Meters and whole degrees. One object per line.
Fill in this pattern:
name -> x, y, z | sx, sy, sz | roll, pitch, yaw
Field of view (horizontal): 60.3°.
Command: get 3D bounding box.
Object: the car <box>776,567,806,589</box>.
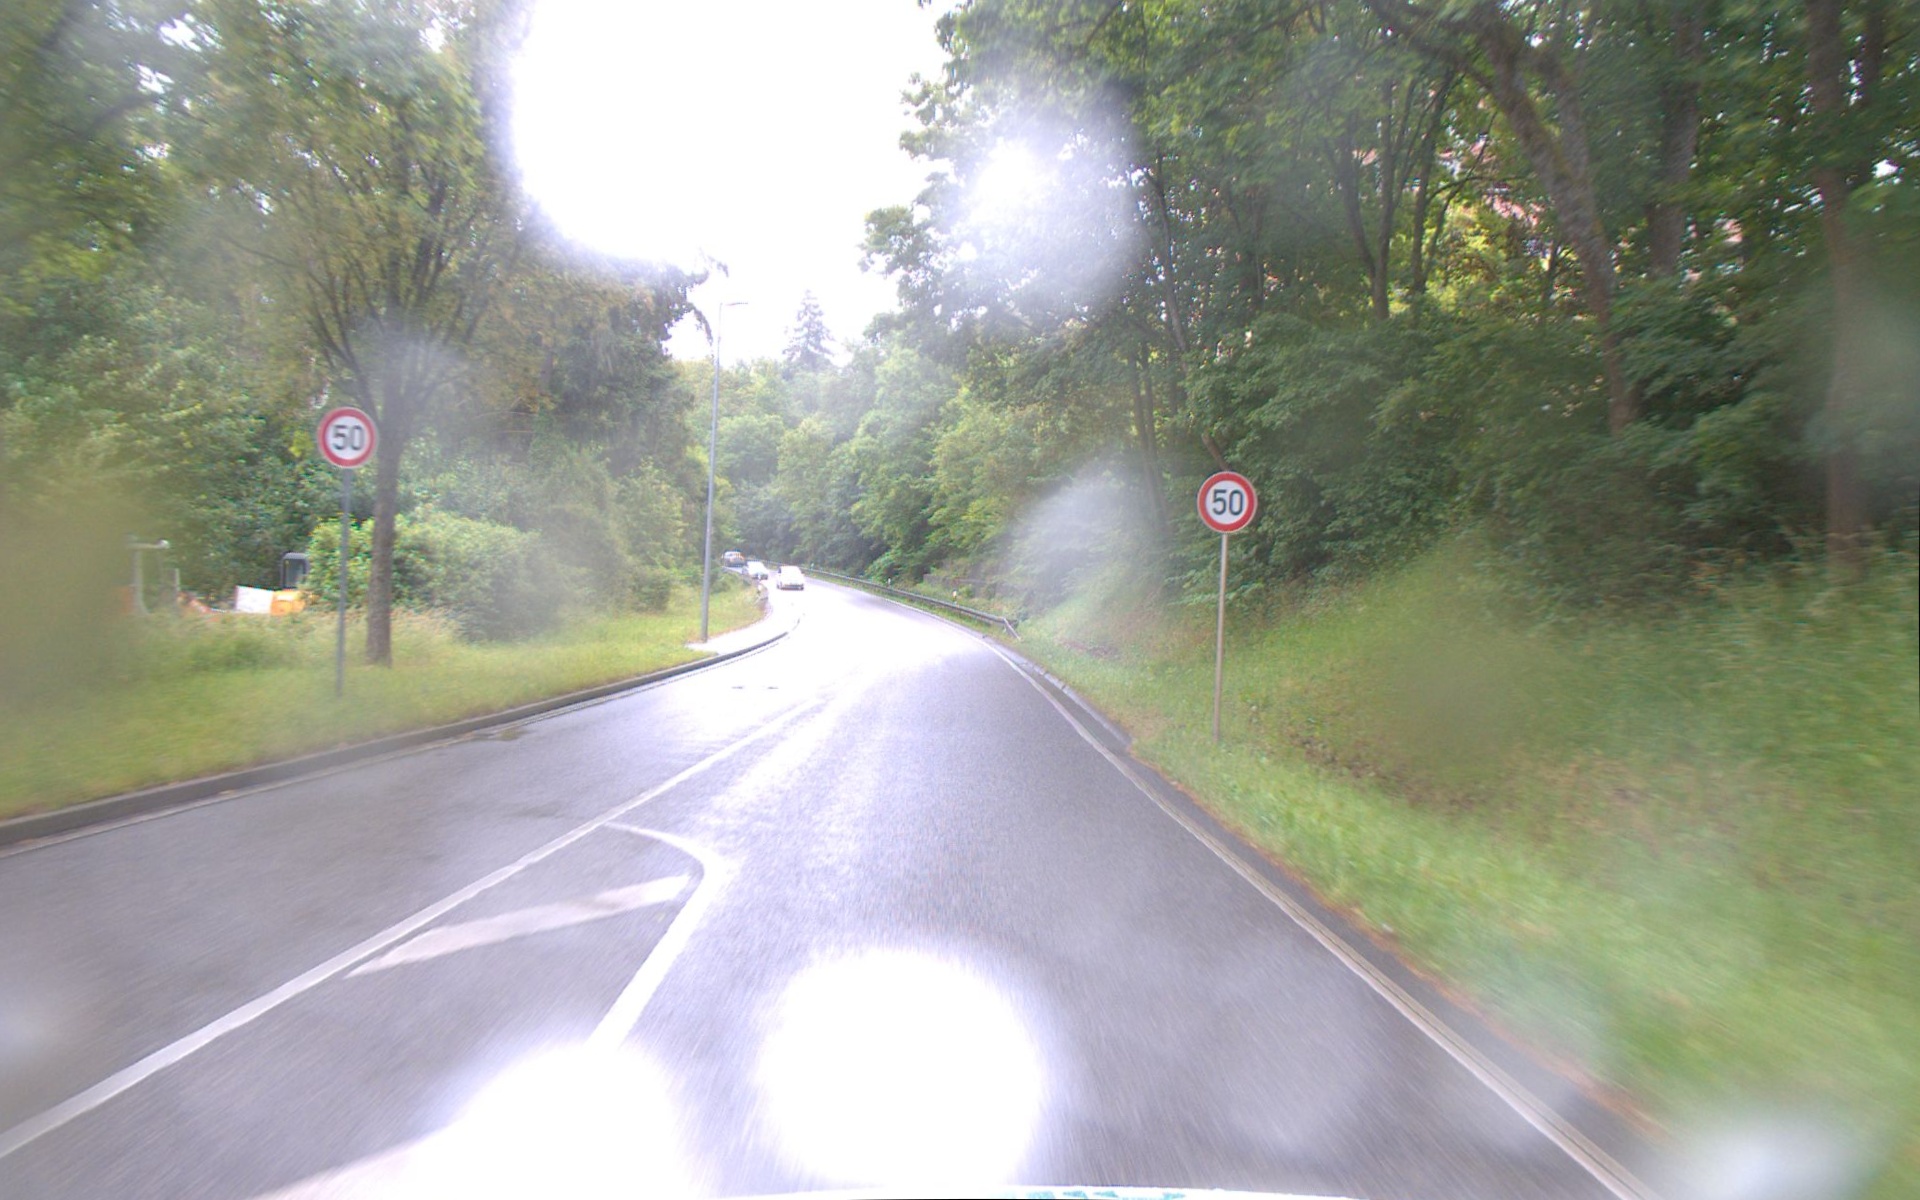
car -> -13.026, -1.700, 127.127 | 1.783, 1.676, 4.118 | 1, 1, -13

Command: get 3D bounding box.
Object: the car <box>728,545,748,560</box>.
car -> -22.664, -4.859, 168.880 | 1.702, 1.536, 3.997 | 0, 1, -4

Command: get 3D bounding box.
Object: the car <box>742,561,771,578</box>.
car -> -17.925, -2.651, 145.629 | 1.786, 1.459, 3.980 | 0, 1, -18

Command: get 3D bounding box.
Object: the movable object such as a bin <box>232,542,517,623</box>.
movable object such as a bin -> -15.192, -0.425, 43.672 | 1.811, 1.941, 7.895 | 1, 0, 29

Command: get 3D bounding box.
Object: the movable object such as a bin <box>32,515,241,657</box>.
movable object such as a bin -> -18.157, -0.293, 36.689 | 1.951, 2.911, 4.003 | 2, 0, 13
